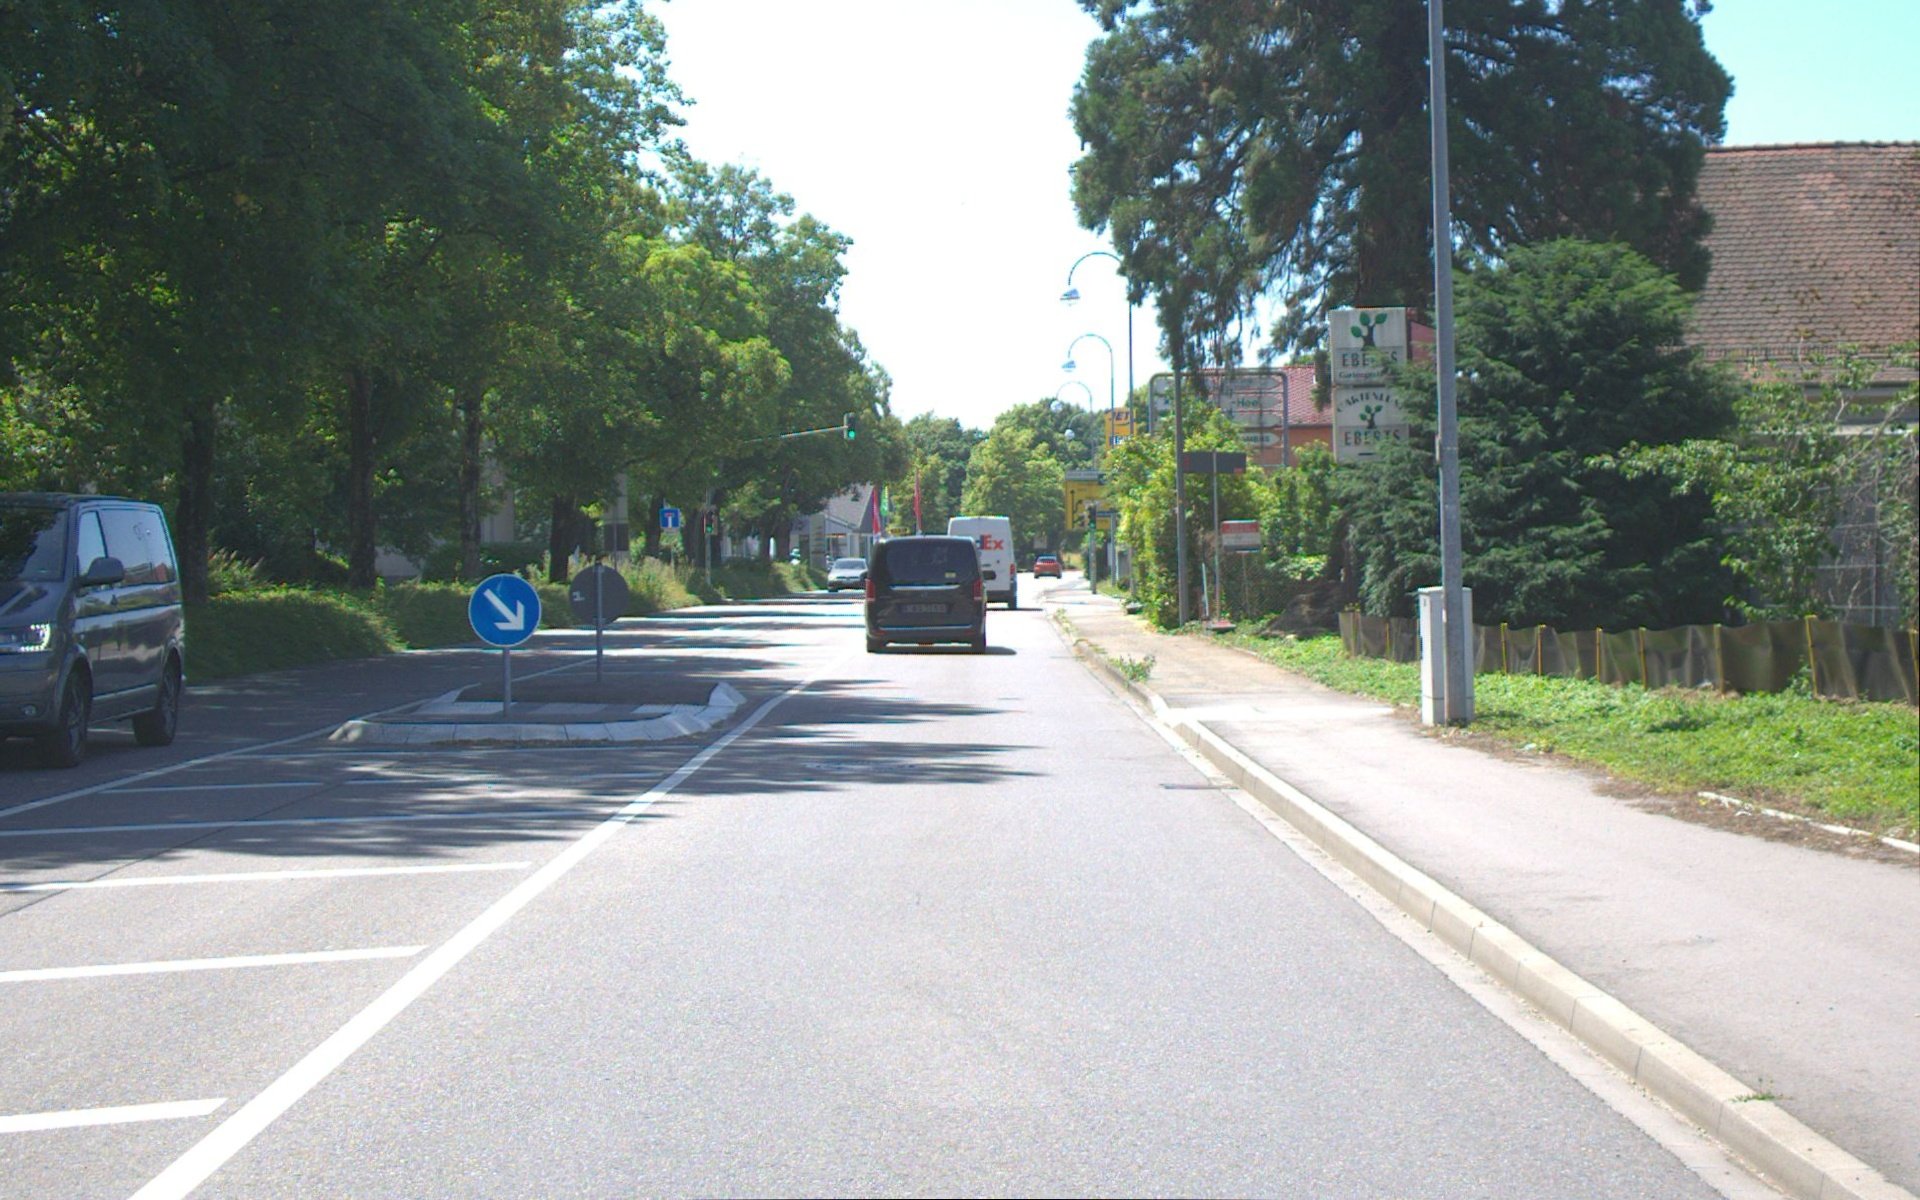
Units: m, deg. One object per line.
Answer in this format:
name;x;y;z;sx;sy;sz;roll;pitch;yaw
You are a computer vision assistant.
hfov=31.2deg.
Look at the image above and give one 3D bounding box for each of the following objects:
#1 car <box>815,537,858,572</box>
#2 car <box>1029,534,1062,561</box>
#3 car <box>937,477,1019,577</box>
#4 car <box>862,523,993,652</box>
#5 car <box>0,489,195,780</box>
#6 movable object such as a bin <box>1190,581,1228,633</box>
car;-5.200;-1.929;145.563;1.722;1.422;4.148;1;1;-1
car;5.612;-3.445;225.557;1.857;1.637;4.001;1;2;-3
car;0.542;-2.082;96.147;2.120;2.668;5.662;1;2;2
car;-0.555;-0.231;54.624;1.993;1.886;4.001;1;2;-2
car;-7.073;0.148;25.178;1.993;1.903;4.992;0;2;-2
movable object such as a bin;4.490;0.125;62.016;0.471;0.924;0.523;2;1;34
